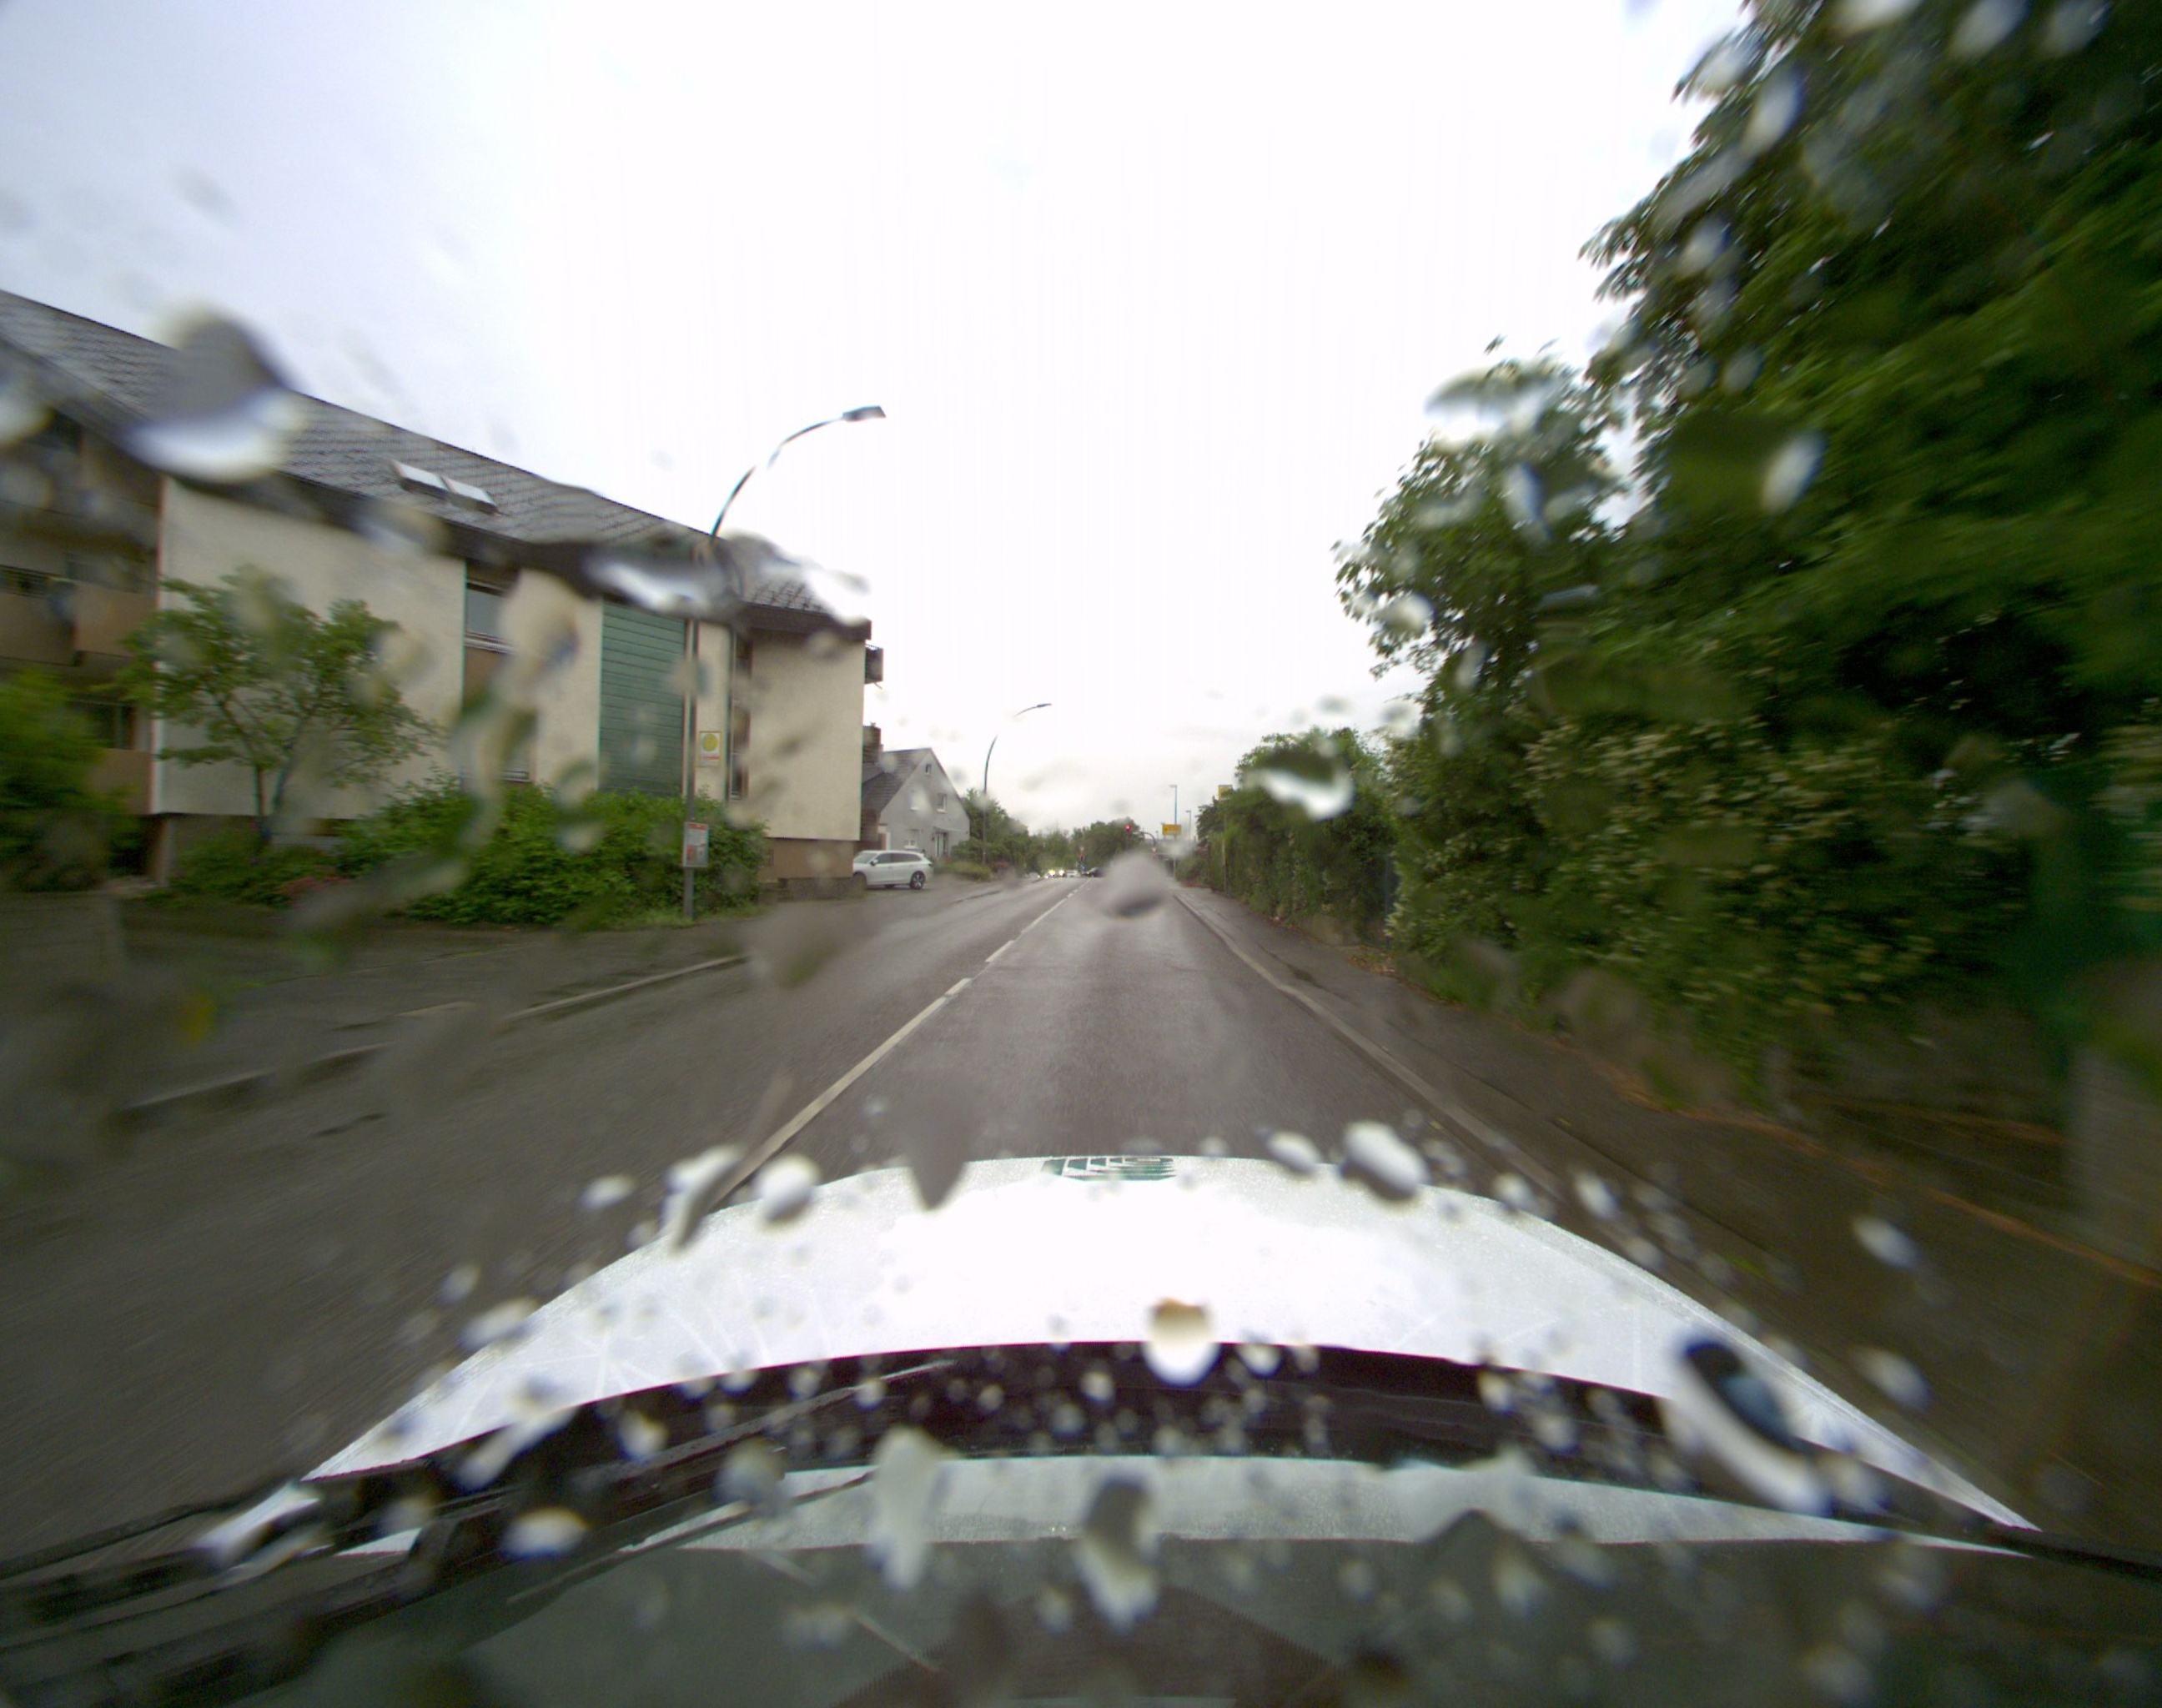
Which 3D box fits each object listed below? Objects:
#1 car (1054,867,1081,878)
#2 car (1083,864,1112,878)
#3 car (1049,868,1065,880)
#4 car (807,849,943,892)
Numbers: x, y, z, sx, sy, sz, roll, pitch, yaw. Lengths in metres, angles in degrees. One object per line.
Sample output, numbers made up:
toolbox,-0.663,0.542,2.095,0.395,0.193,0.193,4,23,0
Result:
car,-2.152,3.012,133.022,3.960,1.617,1.950,-1,2,12
car,2.358,2.449,118.713,3.990,2.014,1.770,1,-1,-13
car,-3.147,2.603,108.178,1.798,1.523,4.001,1,0,2
car,-7.722,0.581,30.989,1.883,1.477,4.913,2,1,36
